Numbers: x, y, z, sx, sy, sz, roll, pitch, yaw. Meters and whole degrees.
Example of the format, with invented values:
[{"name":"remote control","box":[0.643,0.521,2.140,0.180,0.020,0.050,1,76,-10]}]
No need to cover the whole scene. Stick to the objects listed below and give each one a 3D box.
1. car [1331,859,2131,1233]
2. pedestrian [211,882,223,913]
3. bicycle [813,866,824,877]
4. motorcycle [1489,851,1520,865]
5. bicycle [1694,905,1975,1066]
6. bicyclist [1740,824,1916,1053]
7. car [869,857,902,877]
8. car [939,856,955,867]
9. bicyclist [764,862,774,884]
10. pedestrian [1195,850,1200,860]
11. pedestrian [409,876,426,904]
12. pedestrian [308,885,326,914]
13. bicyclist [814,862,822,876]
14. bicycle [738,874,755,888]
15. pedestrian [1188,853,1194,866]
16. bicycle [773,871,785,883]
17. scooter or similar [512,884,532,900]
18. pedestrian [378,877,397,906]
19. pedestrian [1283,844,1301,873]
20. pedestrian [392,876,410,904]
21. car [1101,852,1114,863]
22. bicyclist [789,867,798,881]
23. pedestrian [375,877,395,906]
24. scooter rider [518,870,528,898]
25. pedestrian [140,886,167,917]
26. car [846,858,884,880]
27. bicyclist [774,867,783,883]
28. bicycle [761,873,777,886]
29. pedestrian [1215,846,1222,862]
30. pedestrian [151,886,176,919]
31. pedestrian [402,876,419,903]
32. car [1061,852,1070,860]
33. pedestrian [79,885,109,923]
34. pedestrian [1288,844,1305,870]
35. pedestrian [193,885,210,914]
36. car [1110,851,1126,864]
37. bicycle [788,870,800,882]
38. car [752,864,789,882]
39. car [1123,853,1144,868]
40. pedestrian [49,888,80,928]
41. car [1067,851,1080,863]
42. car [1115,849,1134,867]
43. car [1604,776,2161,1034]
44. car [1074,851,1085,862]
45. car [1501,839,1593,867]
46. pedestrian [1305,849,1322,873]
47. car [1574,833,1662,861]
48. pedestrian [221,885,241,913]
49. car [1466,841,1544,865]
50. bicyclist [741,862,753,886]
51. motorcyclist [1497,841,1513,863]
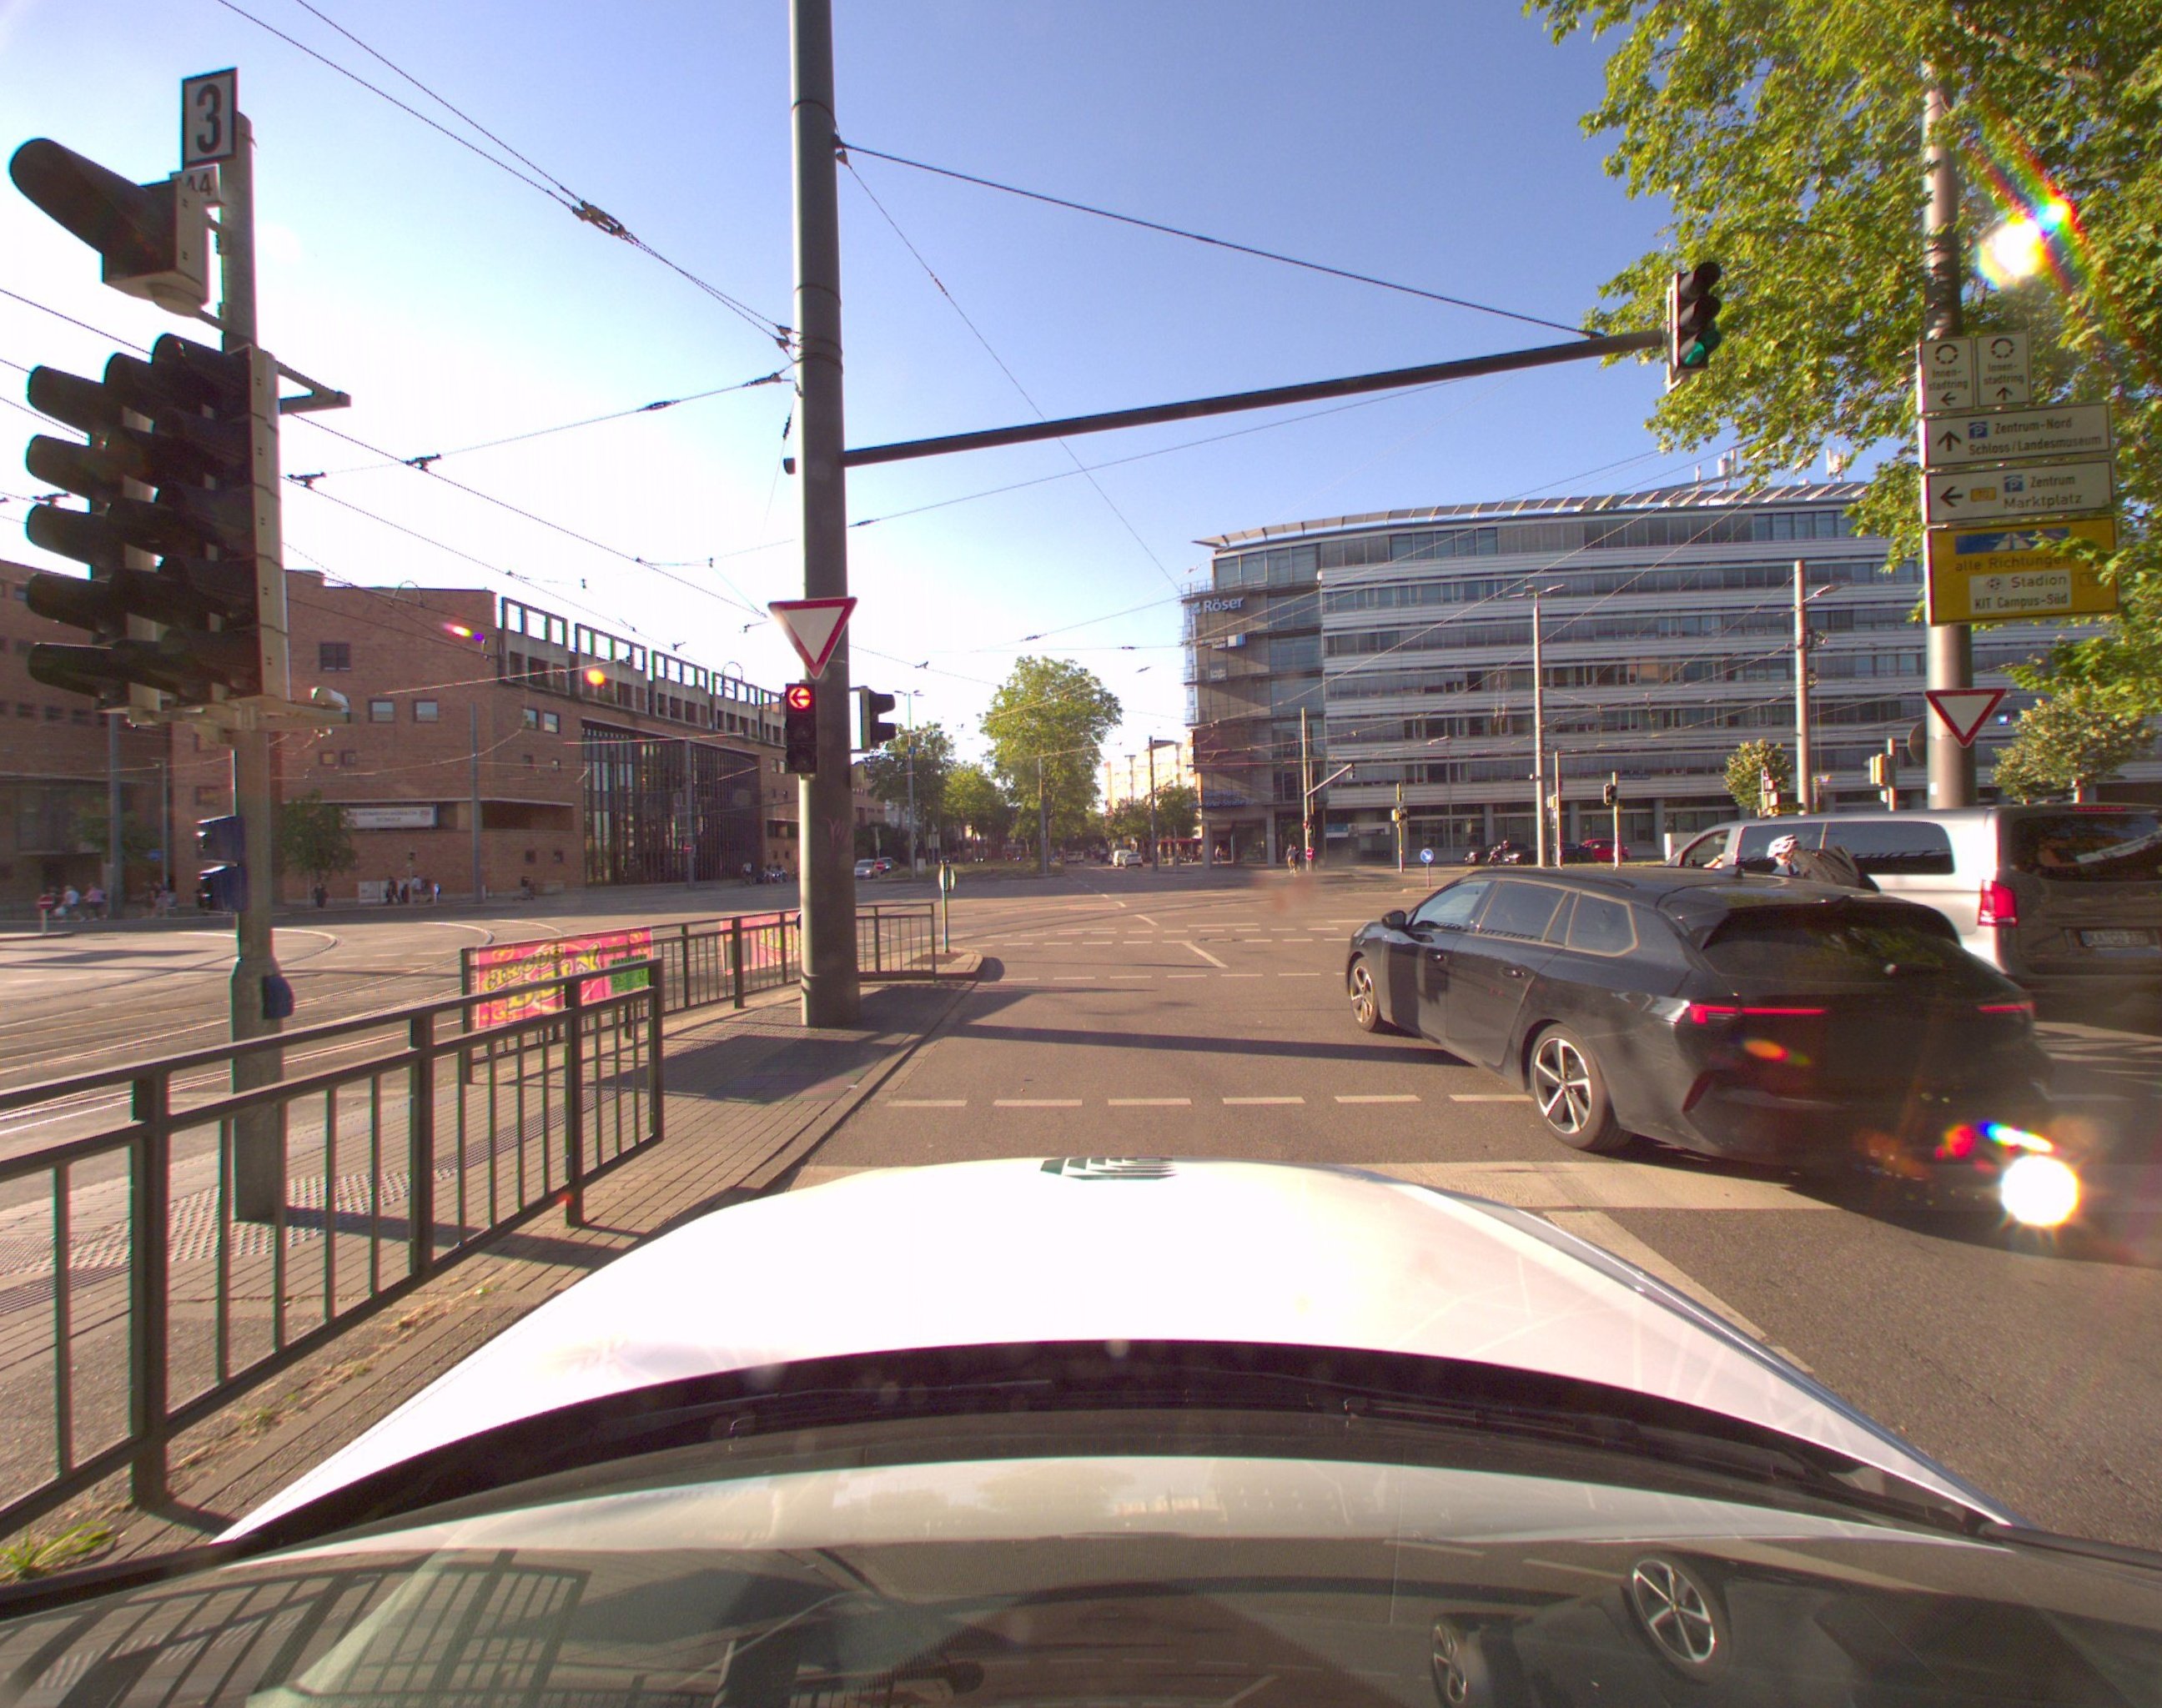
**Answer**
[{"name":"car","box":[3.257,0.758,5.357,1.735,1.414,4.266,-1,0,-3]},{"name":"pedestrian","box":[-45.167,2.268,42.566,0.408,1.614,0.404,-2,0,43]},{"name":"bicycle","box":[-24.510,1.634,76.158,0.490,0.963,1.487,-2,0,2]},{"name":"motorcycle","box":[25.477,0.239,48.998,1.560,0.810,0.468,-2,0,6]},{"name":"bicycle","box":[5.924,0.971,6.578,0.558,0.981,1.871,-2,0,2]},{"name":"bicyclist","box":[5.901,0.631,6.481,0.629,1.692,0.780,-2,0,1]},{"name":"car","box":[-18.109,1.181,75.520,1.987,1.640,4.001,-2,0,1]},{"name":"car","box":[-23.907,1.353,144.946,1.986,1.816,4.002,-2,0,2]},{"name":"bicyclist","box":[-23.369,1.437,61.010,0.456,1.603,0.581,-2,0,1]},{"name":"pedestrian","box":[15.696,0.157,109.946,0.575,1.289,0.910,-2,0,2]},{"name":"pedestrian","box":[-40.881,2.200,50.183,0.572,1.683,0.546,-2,0,-7]},{"name":"pedestrian","box":[-41.287,2.437,44.009,0.490,1.506,0.547,-2,0,-15]},{"name":"bicyclist","box":[-24.542,1.394,76.121,0.503,1.210,0.581,-2,0,1]},{"name":"bicycle","box":[-24.639,1.951,60.055,0.540,0.963,1.587,-2,0,2]},{"name":"pedestrian","box":[14.158,0.683,104.857,0.741,1.714,0.612,-2,0,1]},{"name":"bicycle","box":[-24.746,1.864,66.733,0.466,0.963,1.320,-2,0,2]},{"name":"scooter or similar","box":[-33.727,2.282,49.143,0.956,0.899,0.173,-2,0,-45]},{"name":"pedestrian","box":[-41.368,2.220,48.560,0.547,1.683,0.593,-2,0,4]},{"name":"pedestrian","box":[13.776,0.289,53.176,0.860,1.788,0.872,-2,0,2]},{"name":"pedestrian","box":[-41.720,2.204,49.962,0.547,1.683,0.572,-2,0,-7]},{"name":"car","box":[4.085,0.499,126.772,1.986,1.618,4.002,-2,0,2]},{"name":"bicyclist","box":[-24.426,1.678,69.248,0.503,1.179,0.581,-2,0,1]},{"name":"pedestrian","box":[-42.045,2.238,49.170,0.619,1.683,0.649,-2,0,-7]},{"name":"scooter rider","box":[-33.727,1.810,49.199,0.441,1.647,0.226,-2,0,-44]},{"name":"pedestrian","box":[-41.555,2.134,36.488,0.596,1.339,0.685,-2,0,29]},{"name":"car","box":[-18.006,1.222,67.946,1.987,1.640,4.001,-2,0,1]},{"name":"bicyclist","box":[-24.809,1.692,66.829,0.503,1.304,0.581,-2,0,1]},{"name":"bicycle","box":[-23.344,1.899,60.948,0.471,0.963,1.576,-2,0,2]},{"name":"pedestrian","box":[13.253,0.024,78.708,0.609,1.507,0.580,-2,0,8]},{"name":"pedestrian","box":[-42.069,2.221,37.336,0.562,1.453,0.618,-2,0,30]},{"name":"pedestrian","box":[-41.866,2.211,50.884,0.592,1.683,0.501,-2,0,-7]},{"name":"car","box":[-3.686,0.499,198.744,1.986,2.013,4.001,-2,0,1]},{"name":"pedestrian","box":[-43.258,2.180,35.691,0.590,1.614,0.593,-2,0,-24]},{"name":"pedestrian","box":[14.361,0.205,54.246,0.908,1.685,1.037,-2,0,6]},{"name":"pedestrian","box":[-45.606,2.376,42.235,0.583,1.463,0.537,-2,0,44]},{"name":"car","box":[4.819,0.480,105.289,1.986,1.618,4.002,-2,0,2]},{"name":"bicycle","box":[-24.401,1.871,69.287,0.449,0.963,1.348,-2,0,2]},{"name":"car","box":[-27.380,1.696,71.993,1.661,1.436,4.001,-2,0,1]},{"name":"car","box":[5.289,0.623,82.816,1.986,1.376,4.002,-2,0,2]},{"name":"pedestrian","box":[-43.428,2.298,34.797,0.548,1.648,0.598,-2,0,-16]},{"name":"car","box":[-1.194,0.505,133.106,1.953,1.848,5.333,-2,0,2]},{"name":"car","box":[4.743,0.452,89.633,1.986,1.860,4.002,-2,0,2]},{"name":"car","box":[8.307,0.384,8.931,1.929,1.979,5.099,-2,0,1]},{"name":"car","box":[-0.270,0.520,150.224,1.986,1.912,4.002,-2,0,2]},{"name":"car","box":[26.415,-0.076,46.264,4.136,1.398,1.789,-2,0,7]},{"name":"pedestrian","box":[15.489,0.479,54.226,0.943,1.564,0.899,-2,0,8]},{"name":"car","box":[31.906,-0.390,48.478,3.966,1.393,1.789,-4,0,7]},{"name":"pedestrian","box":[-44.878,2.361,42.990,0.549,1.427,0.563,-2,0,29]},{"name":"car","box":[27.762,-0.070,53.448,4.136,1.398,1.789,-2,0,7]},{"name":"bicyclist","box":[-24.650,1.460,60.115,0.534,1.731,0.581,-2,0,1]},{"name":"motorcyclist","box":[25.504,-0.134,49.015,0.708,1.275,0.460,-2,0,5]}]
